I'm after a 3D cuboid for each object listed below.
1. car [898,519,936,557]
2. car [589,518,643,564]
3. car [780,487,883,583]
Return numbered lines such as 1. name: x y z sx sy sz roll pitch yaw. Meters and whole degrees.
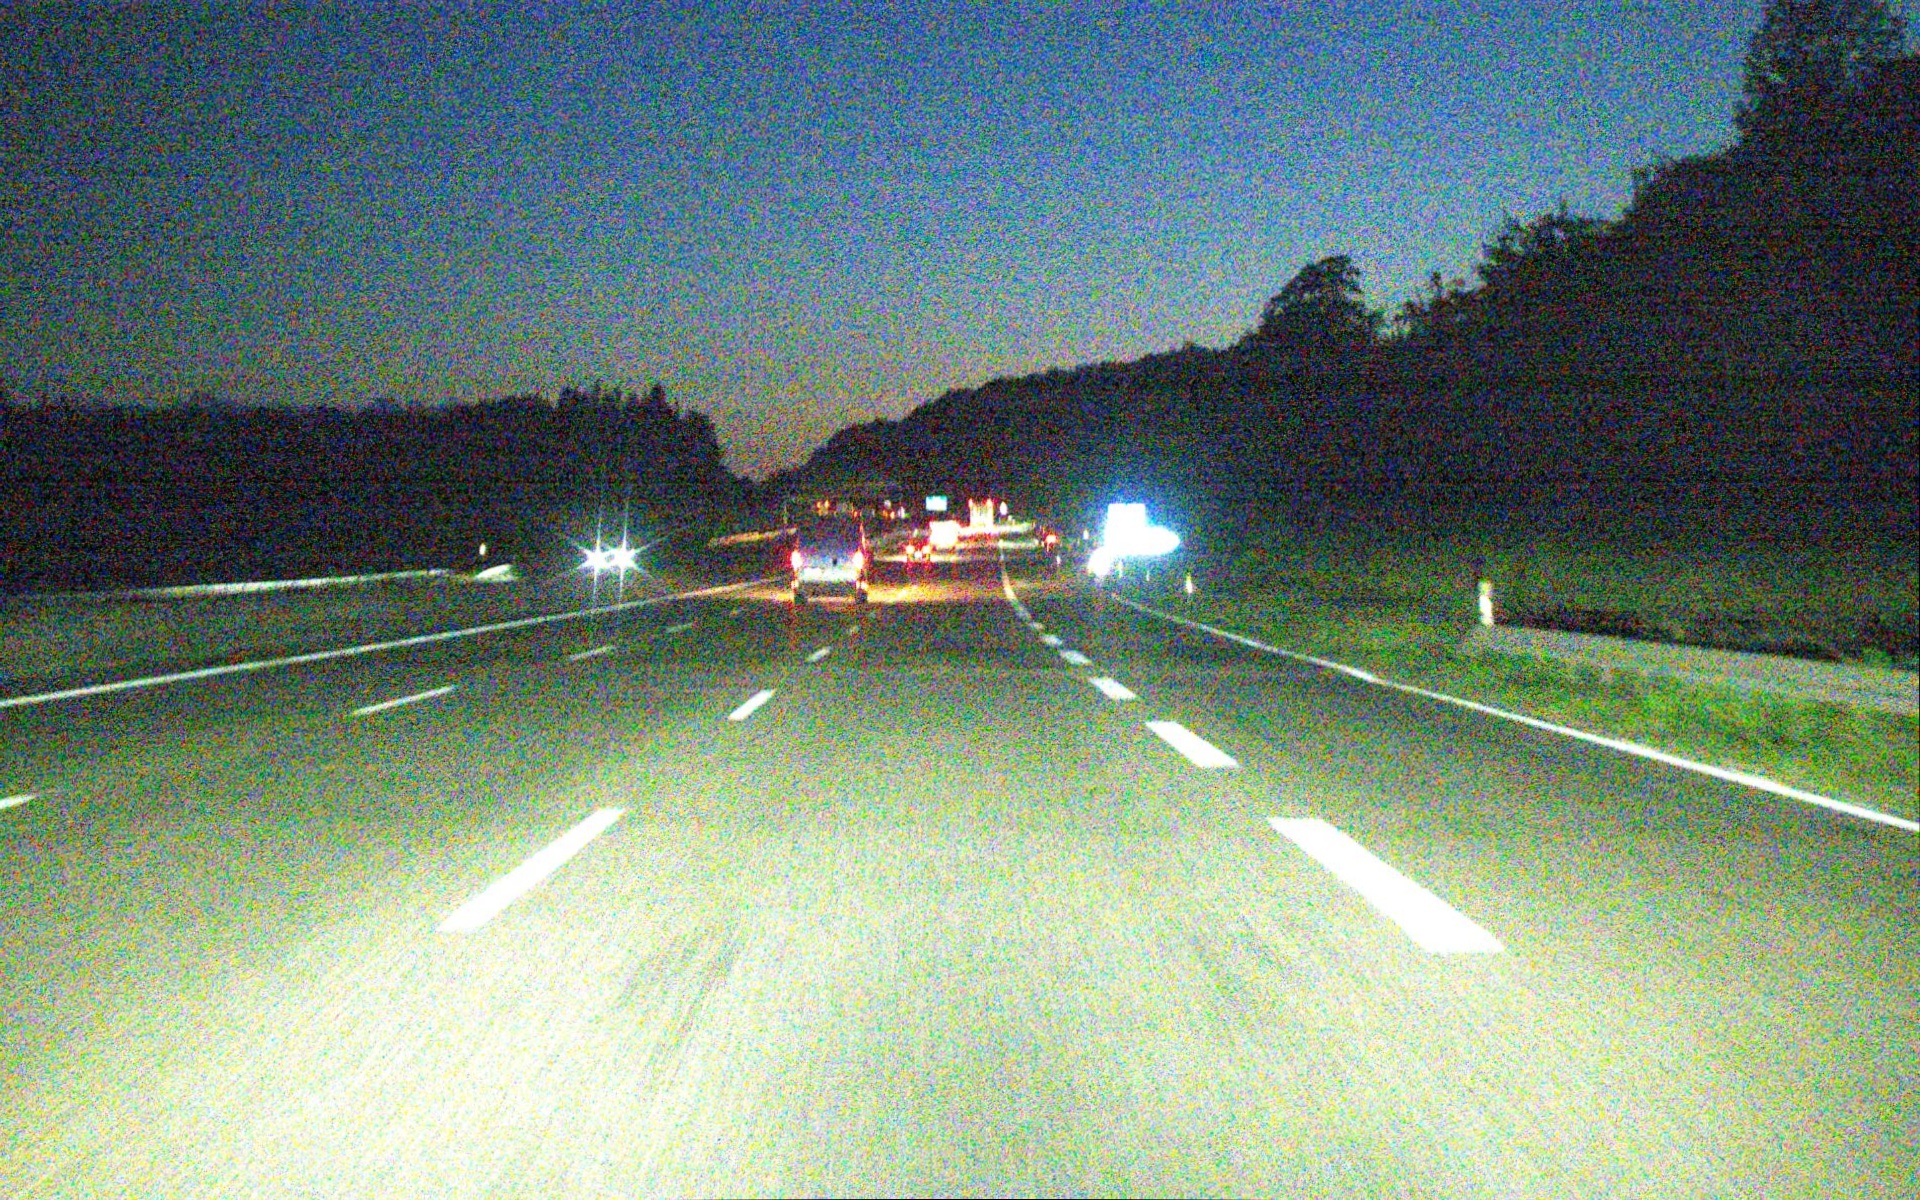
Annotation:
1. car: -3.224 -4.614 257.631 2.786 2.724 6.299 -1 0 -1
2. car: -22.183 -3.800 221.896 2.846 2.927 6.602 0 1 0
3. car: -3.740 -1.881 101.517 2.786 2.724 6.299 -1 0 0
